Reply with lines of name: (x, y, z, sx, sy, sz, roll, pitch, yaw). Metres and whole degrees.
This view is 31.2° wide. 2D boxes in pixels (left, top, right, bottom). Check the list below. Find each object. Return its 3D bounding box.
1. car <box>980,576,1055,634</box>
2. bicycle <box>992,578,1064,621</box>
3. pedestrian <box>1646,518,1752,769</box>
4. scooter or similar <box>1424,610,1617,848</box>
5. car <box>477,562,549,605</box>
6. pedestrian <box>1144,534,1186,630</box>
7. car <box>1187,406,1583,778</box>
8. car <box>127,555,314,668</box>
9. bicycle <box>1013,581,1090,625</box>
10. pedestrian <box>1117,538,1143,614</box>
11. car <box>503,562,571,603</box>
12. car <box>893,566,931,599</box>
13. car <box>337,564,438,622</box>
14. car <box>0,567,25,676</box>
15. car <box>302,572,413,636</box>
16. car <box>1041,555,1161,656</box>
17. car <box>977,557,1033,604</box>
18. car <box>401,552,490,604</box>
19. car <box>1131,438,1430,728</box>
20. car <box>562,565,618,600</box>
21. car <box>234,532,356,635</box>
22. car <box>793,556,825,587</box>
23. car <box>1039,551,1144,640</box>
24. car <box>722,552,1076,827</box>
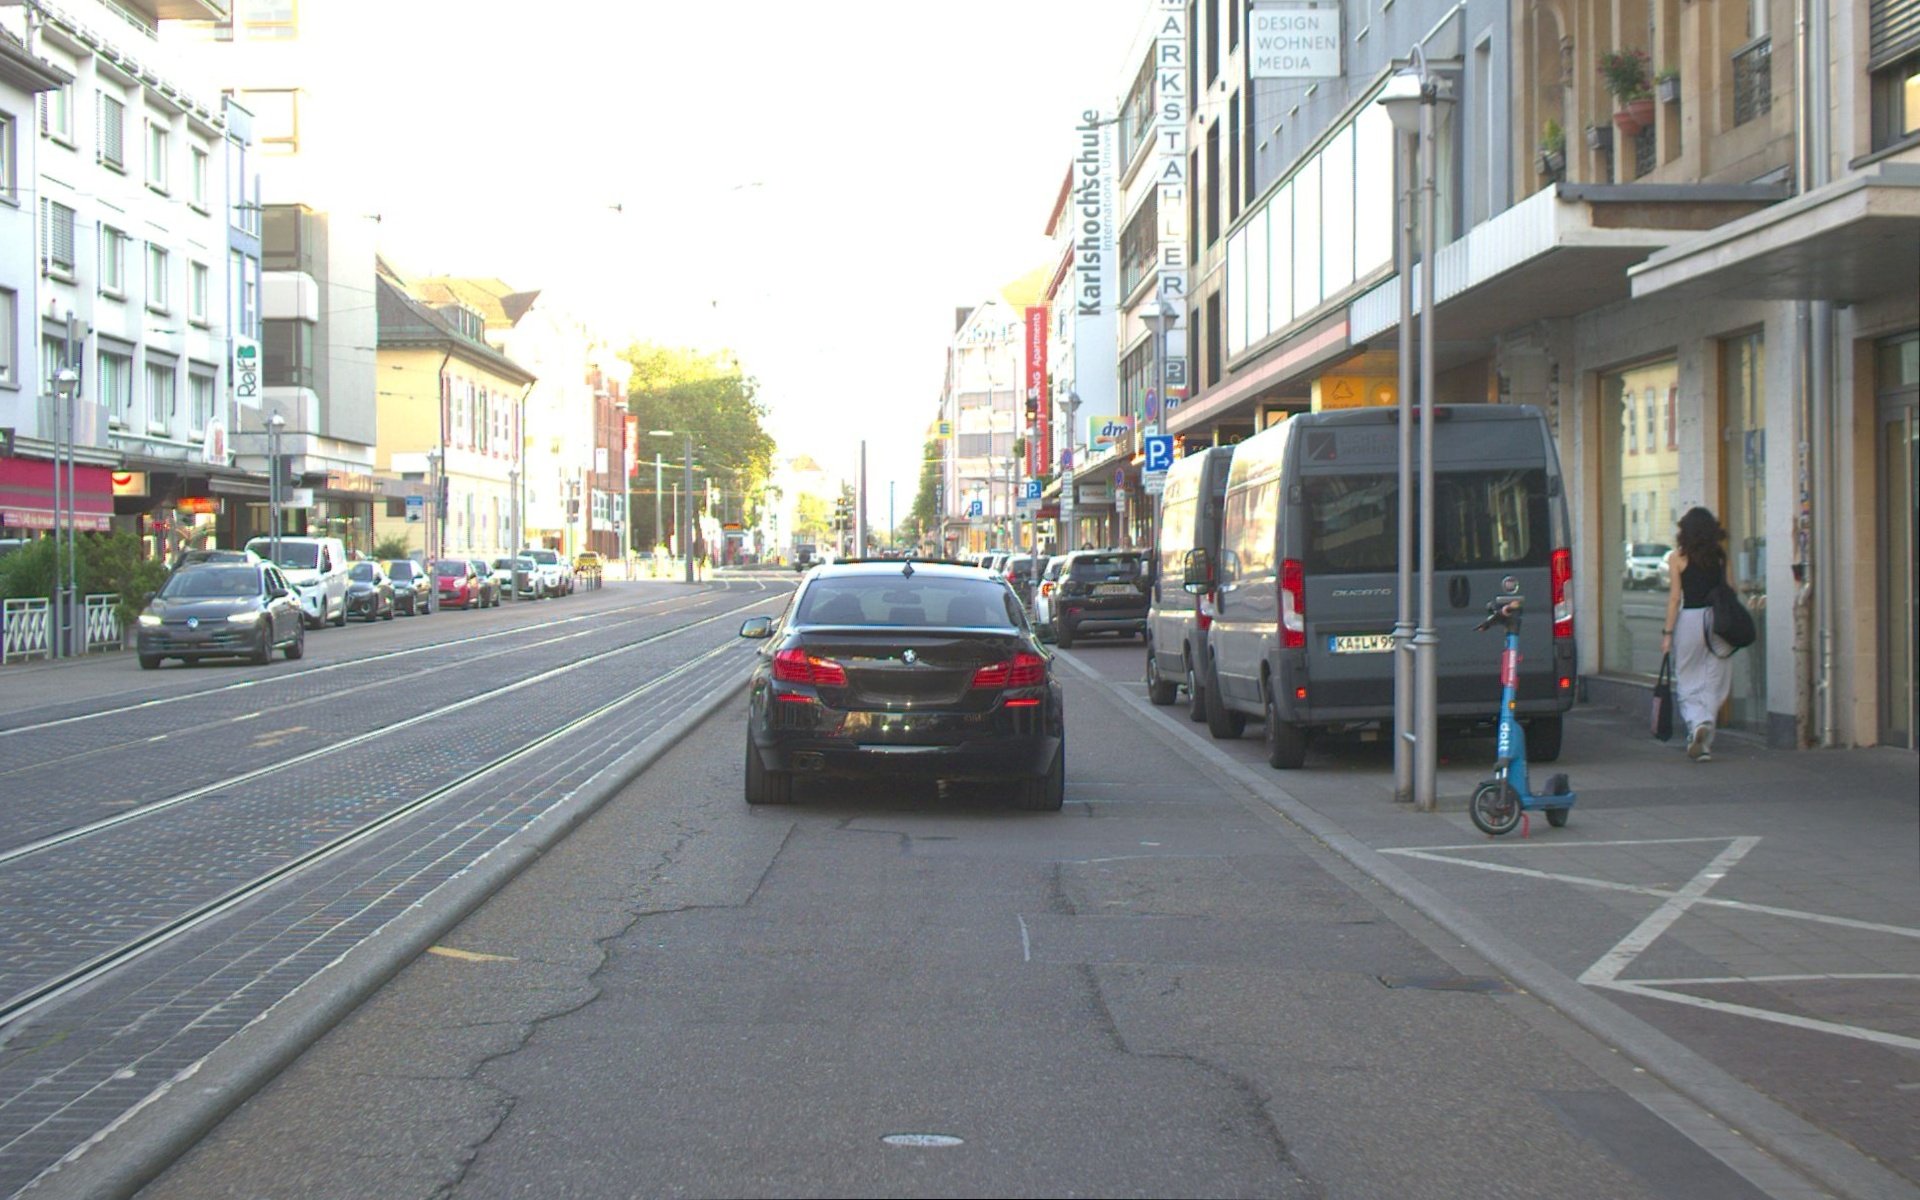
car: (1.531, 0.138, 93.144, 1.903, 1.543, 4.000, 0, 0, -1)
bicycle: (1.776, -0.018, 89.717, 1.861, 1.115, 0.468, 0, -1, 1)
pedestrian: (4.914, 0.283, 22.873, 0.550, 1.638, 0.533, -1, 1, -1)
scooter or similar: (3.029, 0.673, 18.515, 0.499, 1.216, 1.262, 0, 1, 36)
car: (-15.214, -0.572, 117.183, 1.928, 1.430, 4.246, 0, 1, -1)
pedestrian: (3.785, -0.333, 63.528, 0.689, 1.734, 0.820, -2, 0, 1)
car: (3.053, -0.090, 26.100, 2.092, 2.447, 6.033, -1, 1, -1)
car: (-10.500, 0.127, 49.123, 1.691, 1.448, 4.465, -2, 1, 0)
bicycle: (2.227, 0.070, 83.983, 1.861, 1.076, 0.468, 0, -1, 1)
pedestrian: (4.039, -0.574, 81.798, 0.554, 1.785, 0.760, -1, 0, -1)
car: (-15.152, -0.648, 123.315, 1.928, 1.430, 4.246, 1, 1, -1)
car: (-2.267, -0.825, 161.886, 1.774, 1.543, 3.503, 0, 0, -1)
car: (-14.738, -0.200, 88.746, 1.928, 1.430, 4.246, 1, 1, -1)
car: (-13.746, 0.298, 44.652, 1.993, 1.448, 4.330, 0, 1, 0)
car: (-14.370, 0.078, 82.147, 1.928, 1.430, 4.246, 1, 1, -1)
car: (2.226, 0.061, 55.032, 1.654, 1.532, 3.886, -1, 1, -1)
car: (1.493, -0.639, 114.588, 1.774, 1.543, 3.503, 0, 0, -1)
car: (-14.730, -0.652, 98.609, 1.928, 1.430, 4.246, 1, 1, -1)
car: (2.916, -0.178, 32.496, 2.033, 2.447, 5.410, -2, 1, -2)
car: (-15.746, -0.758, 146.437, 1.928, 1.430, 4.246, 1, 1, -1)
car: (-14.349, -0.366, 74.428, 1.993, 2.149, 4.911, 0, 1, -4)
car: (-9.908, -1.874, 226.312, 1.993, 1.832, 4.000, 0, -2, -1)
car: (2.258, -0.094, 59.940, 1.559, 1.437, 3.709, -2, 1, -1)
car: (-0.322, 0.485, 21.580, 1.953, 1.493, 4.465, 2, 0, 1)
